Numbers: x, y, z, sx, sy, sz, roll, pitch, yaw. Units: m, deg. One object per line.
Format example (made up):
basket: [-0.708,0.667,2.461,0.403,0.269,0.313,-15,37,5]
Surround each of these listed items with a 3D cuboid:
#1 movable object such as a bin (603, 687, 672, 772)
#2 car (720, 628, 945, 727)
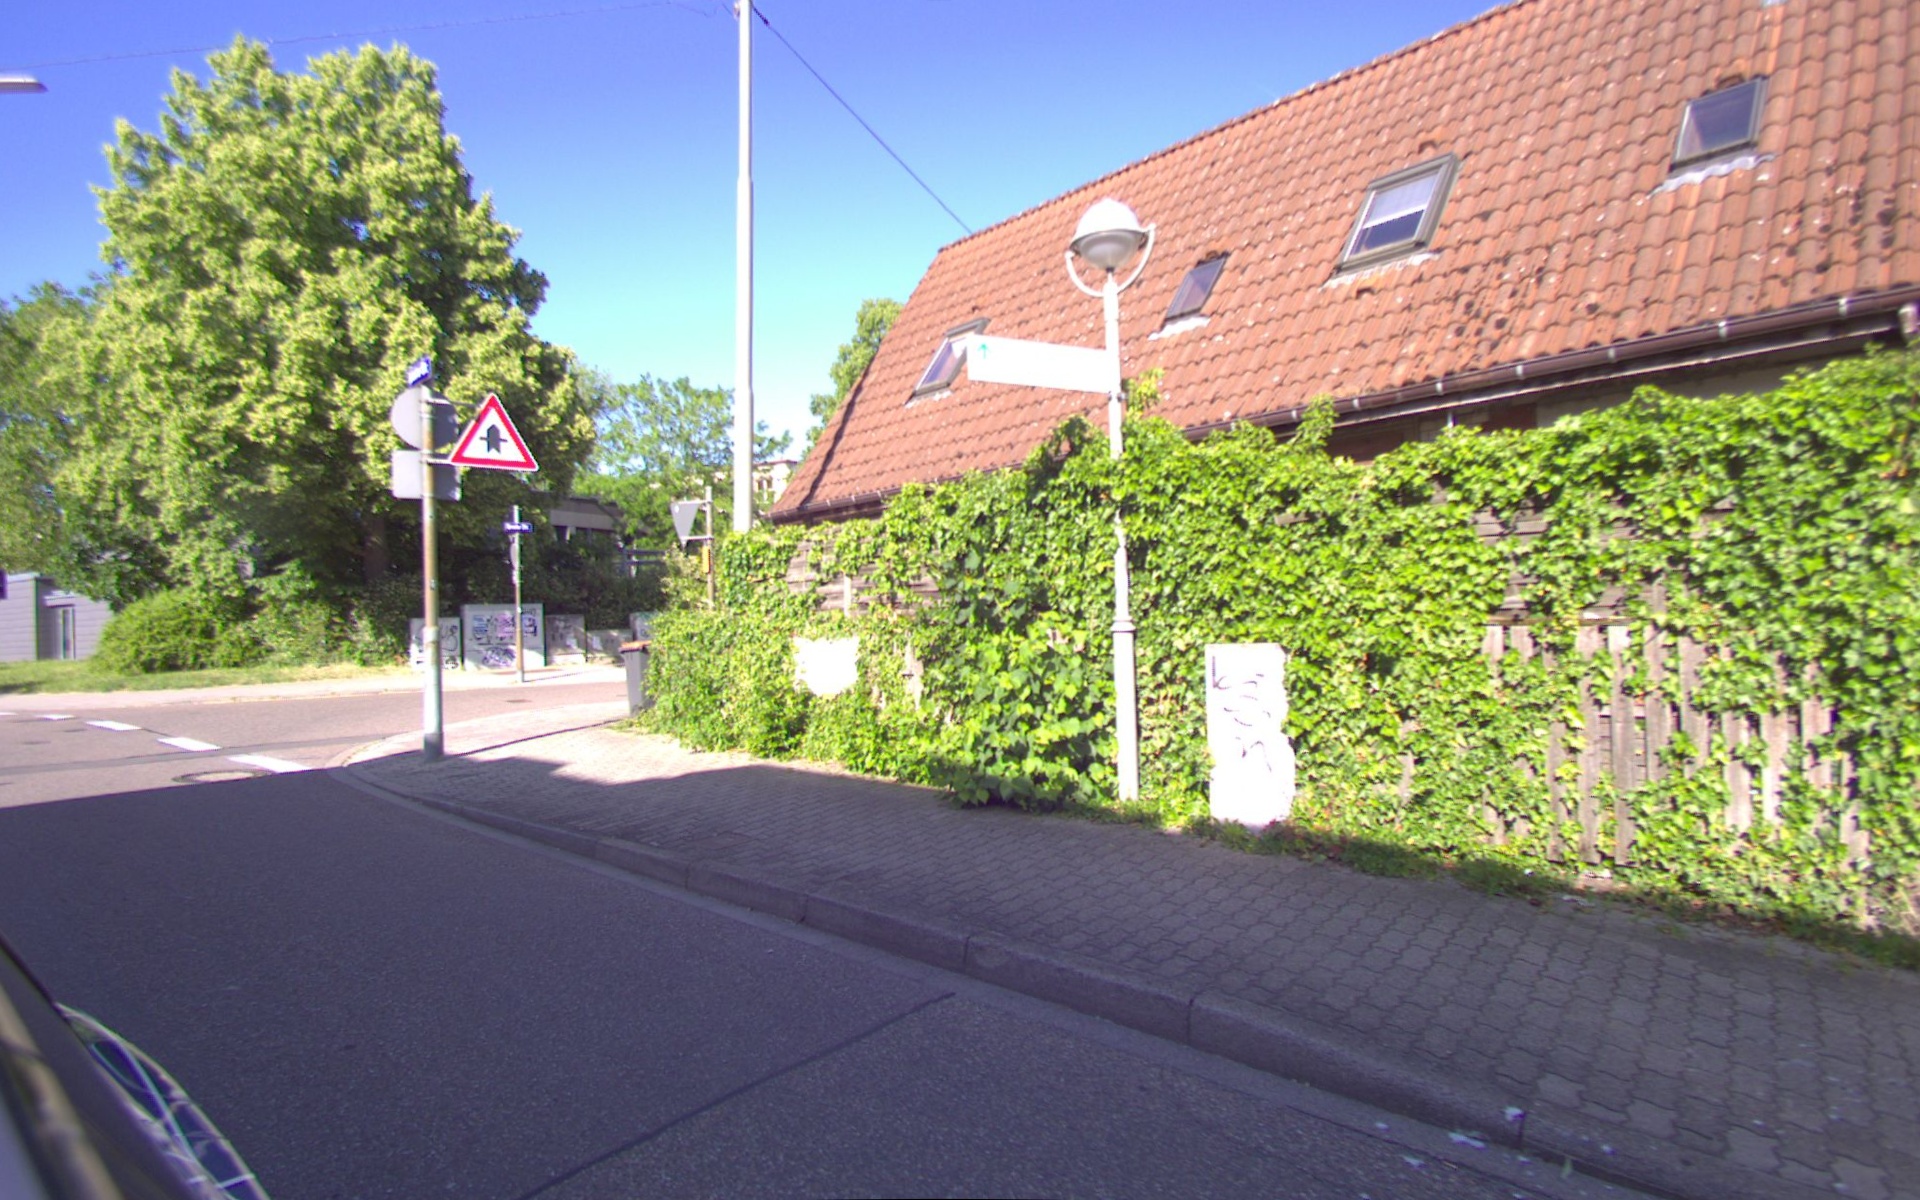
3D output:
movable object such as a bin: [-3.814,1.512,11.969,0.549,0.932,0.626,1,-4,-43]
car: [-2.475,1.443,20.323,4.171,1.738,1.947,1,-2,-45]
